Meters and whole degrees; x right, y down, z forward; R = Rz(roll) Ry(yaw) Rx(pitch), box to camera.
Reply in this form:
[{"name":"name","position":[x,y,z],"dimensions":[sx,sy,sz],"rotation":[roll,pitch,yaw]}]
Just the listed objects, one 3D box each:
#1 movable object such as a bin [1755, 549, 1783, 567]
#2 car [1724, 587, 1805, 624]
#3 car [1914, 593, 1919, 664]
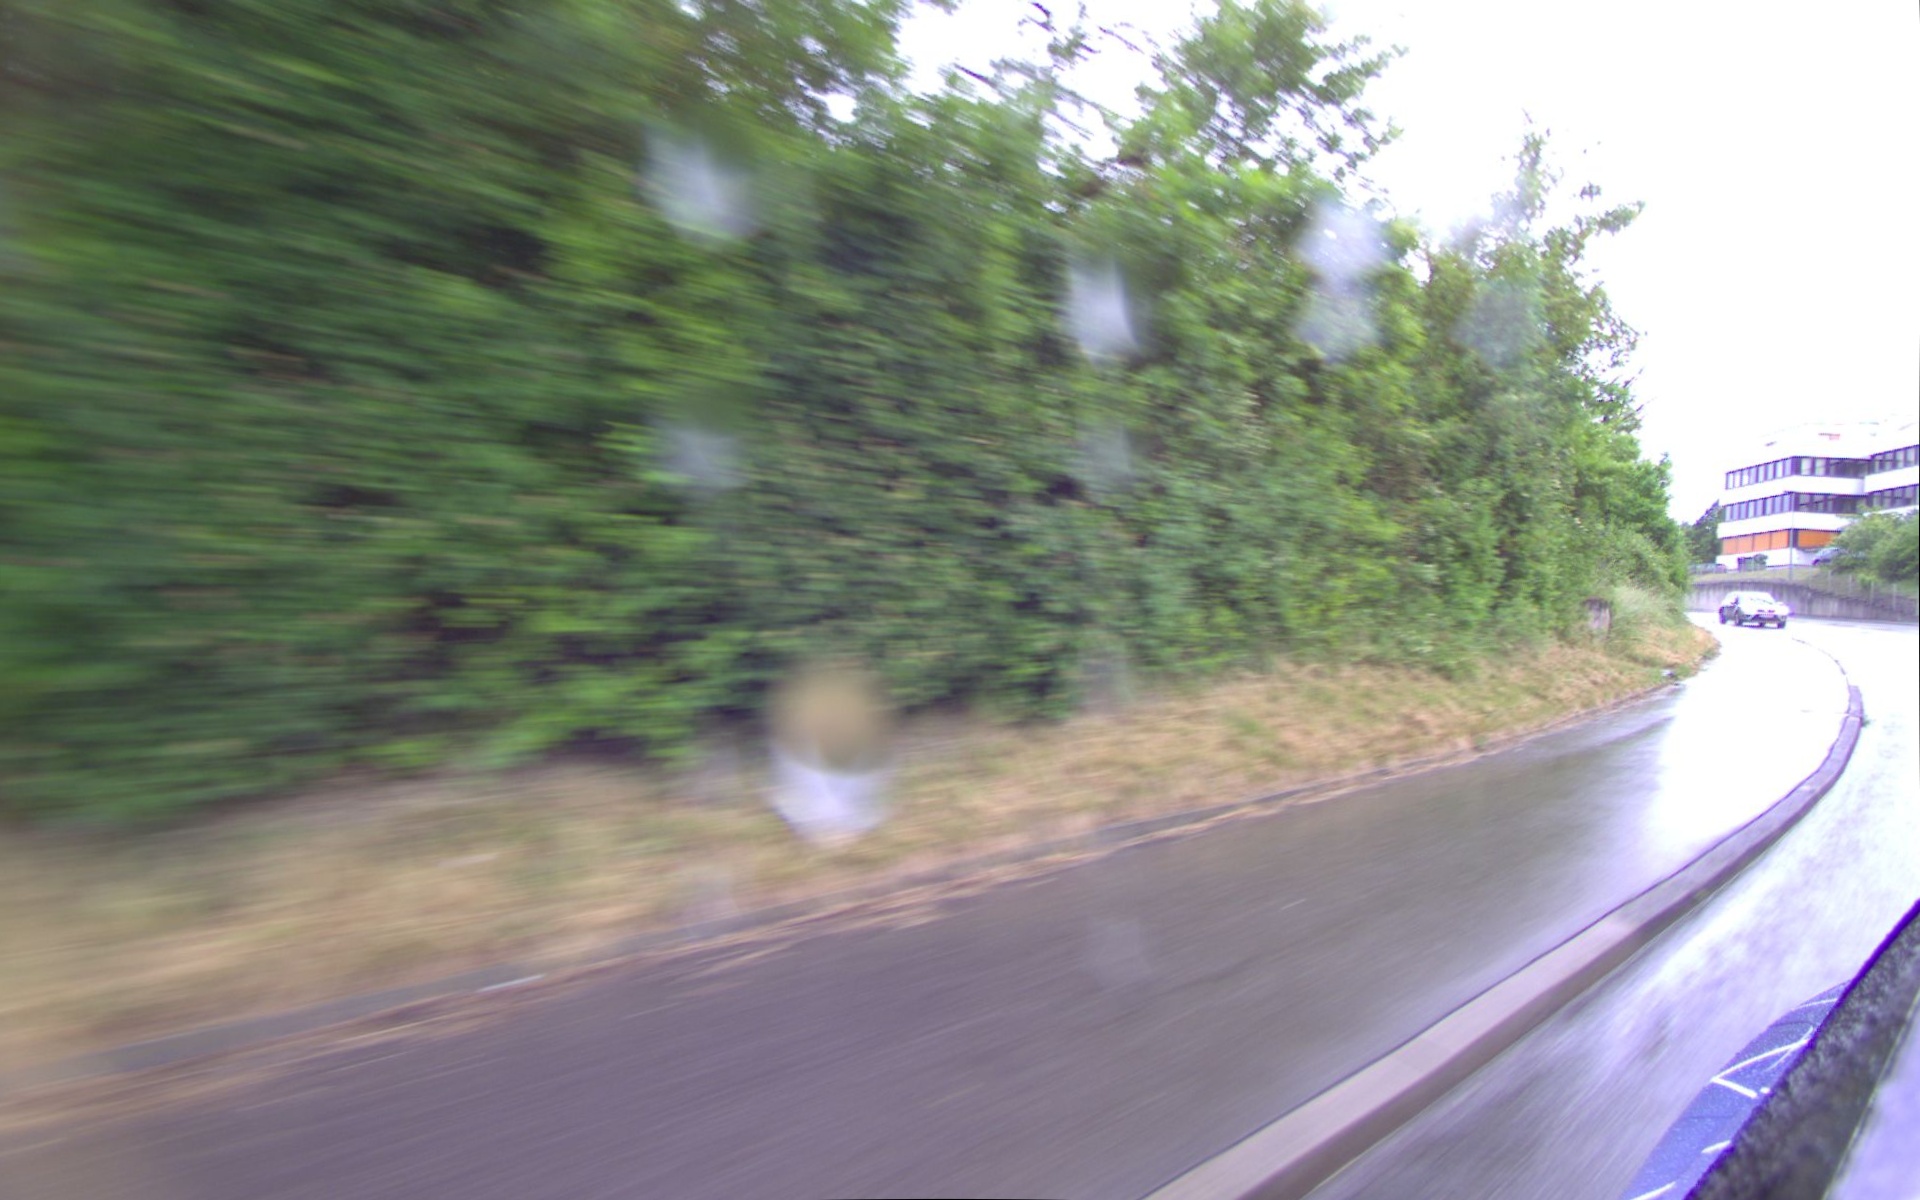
[{"name":"movable object such as a bin","position":[61.065,-3.167,76.414],"dimensions":[1.228,1.363,1.211],"rotation":[3,2,17]},{"name":"car","position":[35.887,0.215,45.245],"dimensions":[1.858,1.458,4.337],"rotation":[5,2,26]},{"name":"car","position":[19.656,0.596,19.179],"dimensions":[1.865,1.459,4.317],"rotation":[-1,0,38]}]
